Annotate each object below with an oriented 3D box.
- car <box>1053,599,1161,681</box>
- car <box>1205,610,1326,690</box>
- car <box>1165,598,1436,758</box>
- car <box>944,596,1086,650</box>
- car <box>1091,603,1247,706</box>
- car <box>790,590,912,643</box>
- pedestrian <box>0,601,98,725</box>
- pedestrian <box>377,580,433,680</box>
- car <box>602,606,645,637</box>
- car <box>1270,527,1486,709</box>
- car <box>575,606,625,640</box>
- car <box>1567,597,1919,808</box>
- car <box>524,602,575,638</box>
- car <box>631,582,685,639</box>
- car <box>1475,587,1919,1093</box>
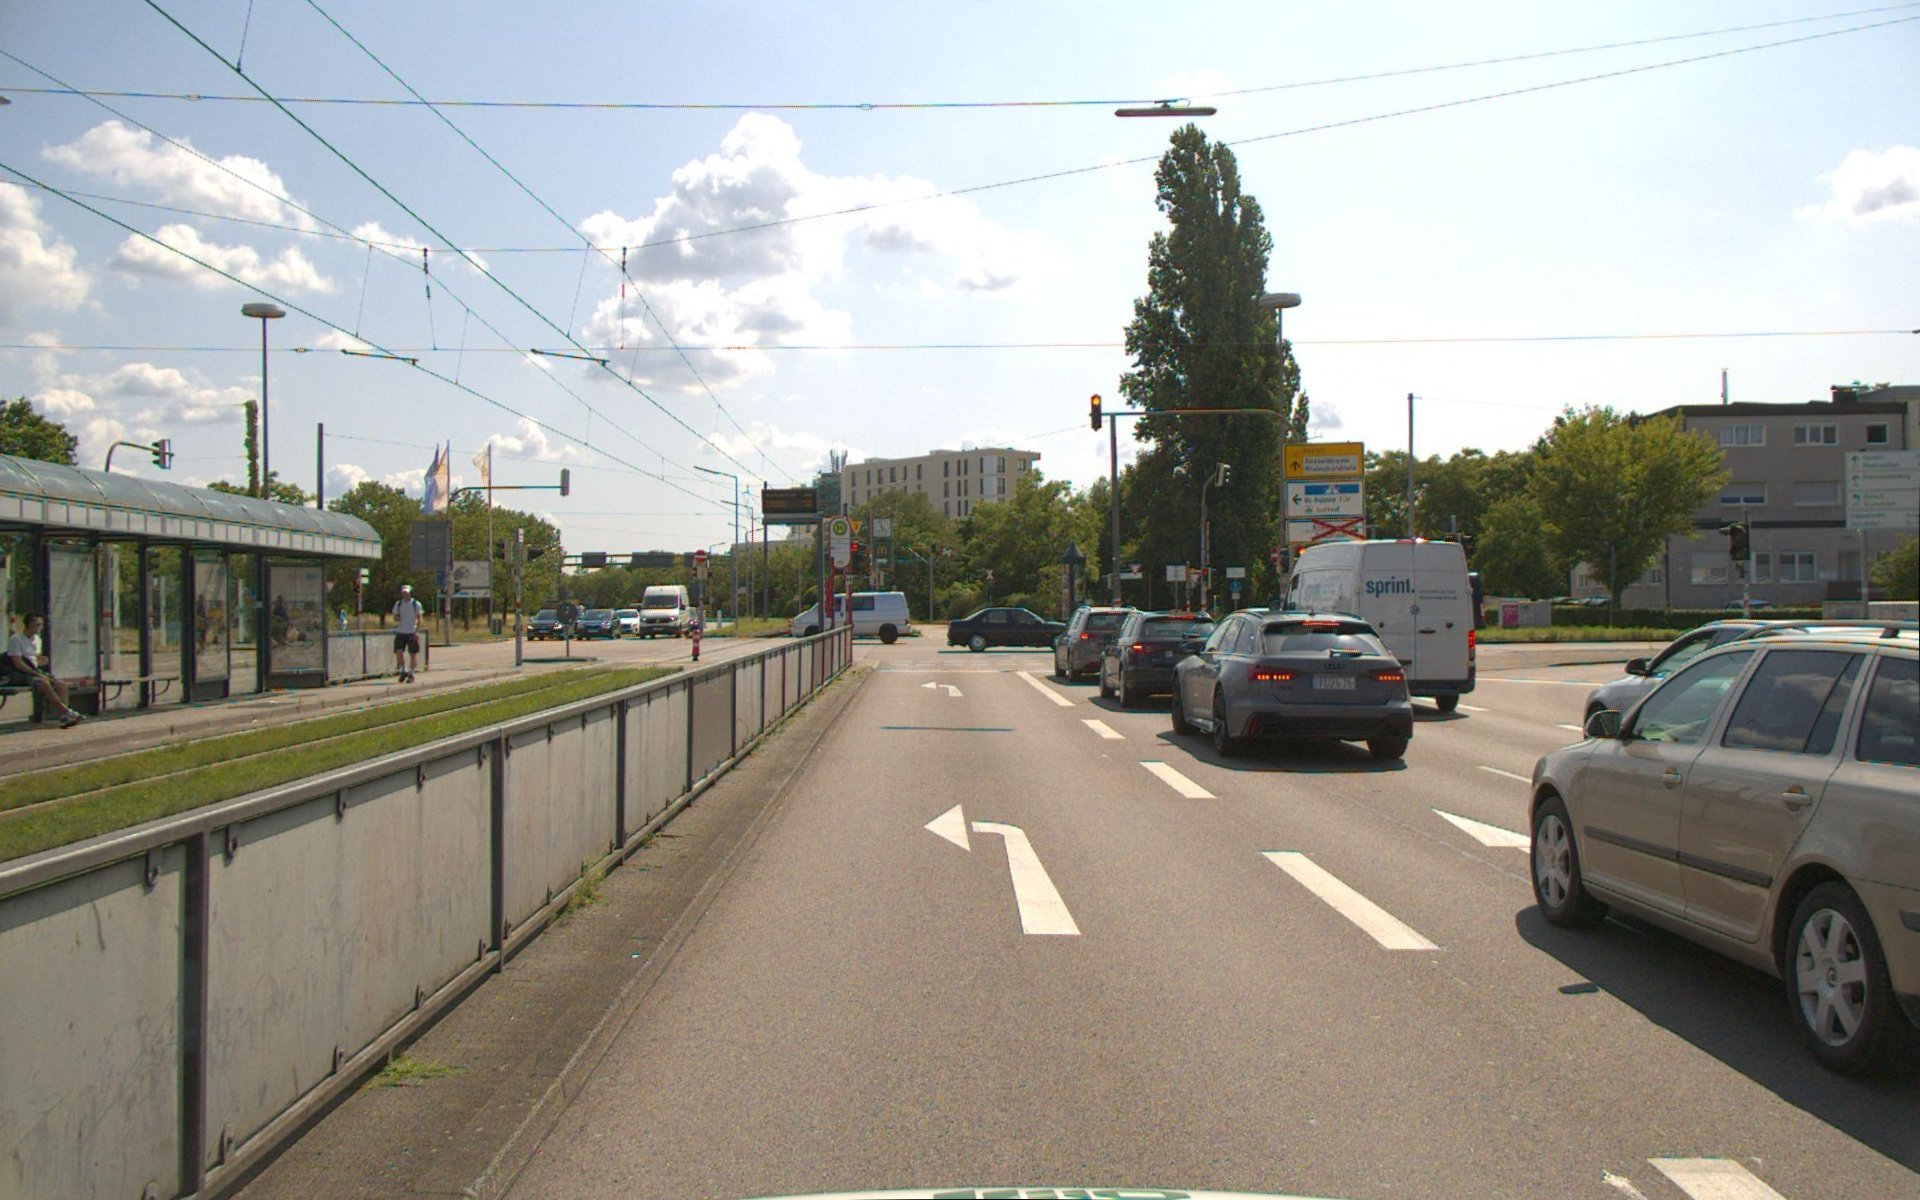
[{"bbox_3d":[2.951,0.790,33.908,1.709,1.525,4.378,1,-1,-1],"label":"car"},{"bbox_3d":[6.201,0.980,33.978,1.709,1.473,4.379,2,-1,1],"label":"car"},{"bbox_3d":[3.543,0.760,18.153,1.849,1.473,4.826,2,-1,-1],"label":"car"},{"bbox_3d":[1.712,0.733,52.474,4.369,1.540,1.999,2,-1,-1],"label":"car"},{"bbox_3d":[3.211,0.815,26.112,1.832,1.444,4.098,2,-1,-1],"label":"car"},{"bbox_3d":[-4.199,0.630,64.338,4.581,1.970,1.999,1,-1,-1],"label":"car"},{"bbox_3d":[-10.899,0.725,19.448,1.037,1.400,0.860,2,-1,-1],"label":"pedestrian"},{"bbox_3d":[-10.246,0.548,30.544,0.791,1.826,0.708,1,-1,-4],"label":"pedestrian"},{"bbox_3d":[-18.149,1.152,89.354,1.767,1.568,4.160,2,-1,-5],"label":"car"},{"bbox_3d":[6.517,0.281,26.427,1.999,2.602,5.229,0,-1,-2],"label":"car"},{"bbox_3d":[-17.582,1.141,80.844,1.859,1.568,3.725,2,-1,-5],"label":"car"},{"bbox_3d":[7.021,0.776,14.329,1.817,1.518,4.535,1,-1,-1],"label":"car"},{"bbox_3d":[-20.565,0.998,82.924,1.826,1.680,3.995,2,-1,-5],"label":"car"},{"bbox_3d":[-14.873,0.540,81.622,1.954,2.651,4.875,2,-1,-3],"label":"car"},{"bbox_3d":[3.711,0.752,6.697,1.703,1.518,4.628,1,-1,-1],"label":"car"}]
